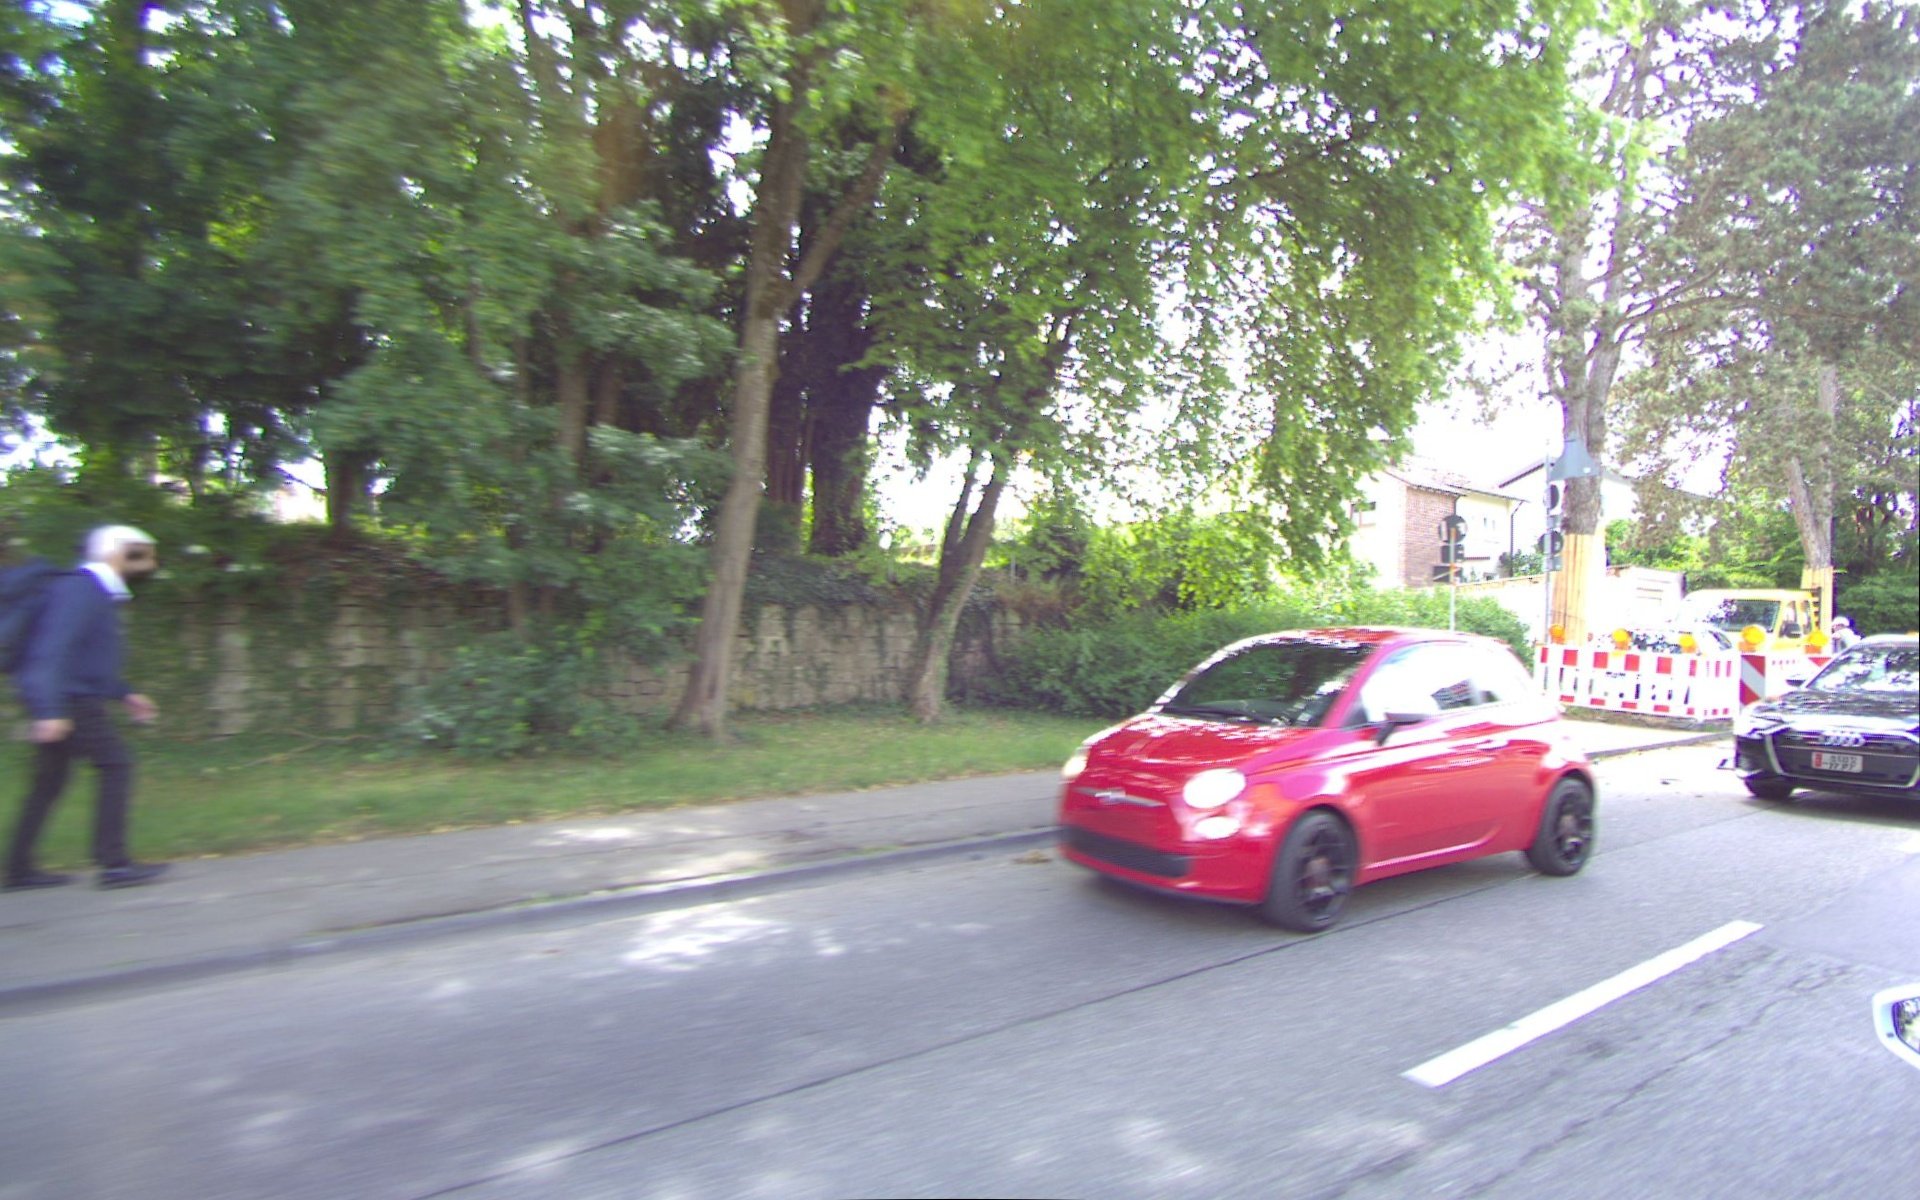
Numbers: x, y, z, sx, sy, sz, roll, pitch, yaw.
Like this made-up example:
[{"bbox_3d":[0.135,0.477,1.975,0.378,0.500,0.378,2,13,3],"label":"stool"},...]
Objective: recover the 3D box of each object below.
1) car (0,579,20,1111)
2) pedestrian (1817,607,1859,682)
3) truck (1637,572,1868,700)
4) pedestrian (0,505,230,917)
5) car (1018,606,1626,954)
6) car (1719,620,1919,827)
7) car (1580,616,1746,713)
[{"bbox_3d":[-3.969,0.650,1.126,3.961,1.576,1.765,2,-3,-34],"label":"car"},{"bbox_3d":[18.961,0.958,21.686,0.650,1.568,0.569,2,0,-41],"label":"pedestrian"},{"bbox_3d":[17.413,0.789,21.955,6.032,2.452,2.291,2,-1,-35],"label":"truck"},{"bbox_3d":[-4.357,0.509,5.042,1.011,1.872,0.828,2,0,-33],"label":"pedestrian"},{"bbox_3d":[2.250,0.857,6.082,3.528,1.543,1.607,1,-2,-31],"label":"car"},{"bbox_3d":[8.872,0.996,9.055,4.511,1.543,1.809,2,-2,-33],"label":"car"},{"bbox_3d":[12.623,1.083,17.975,3.555,1.528,1.609,1,0,-41],"label":"car"}]
